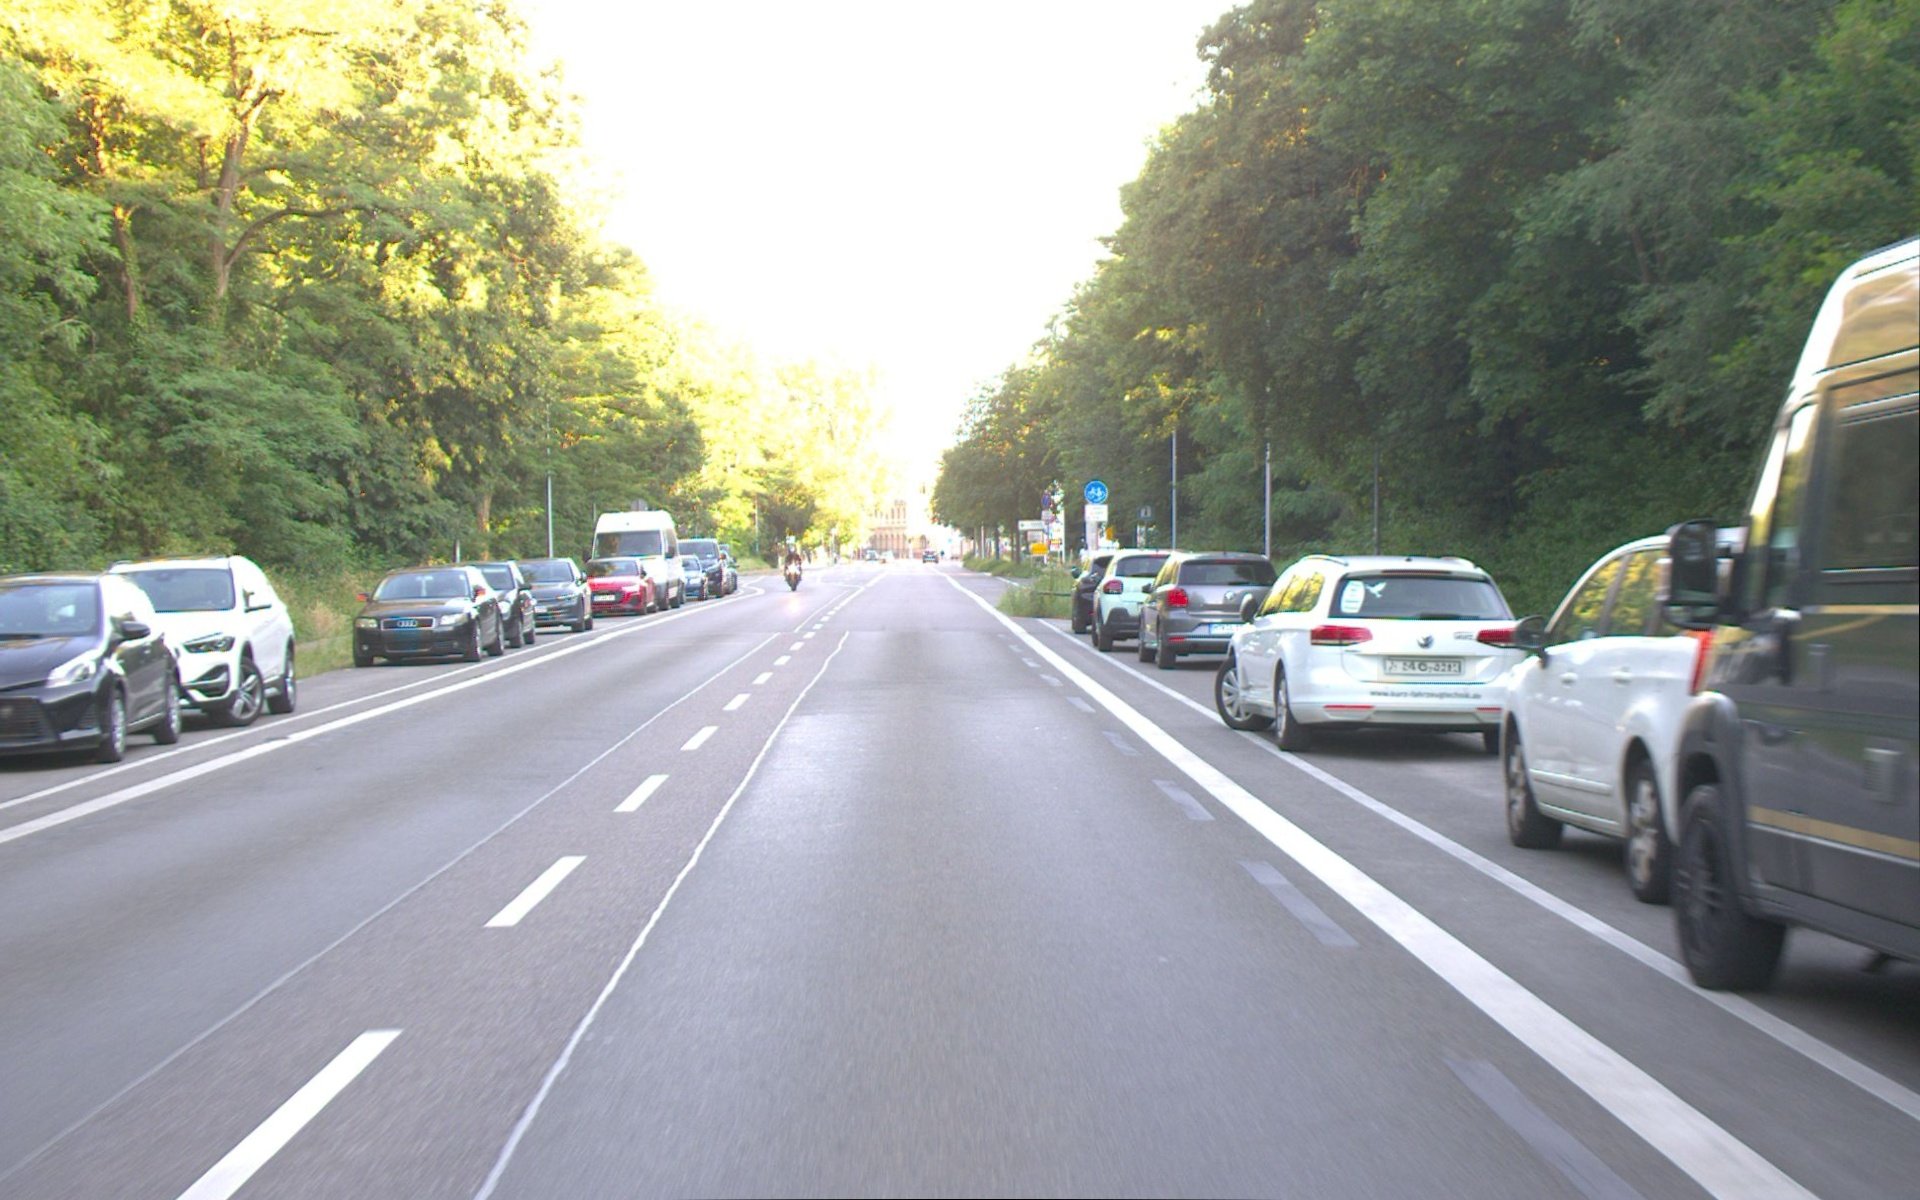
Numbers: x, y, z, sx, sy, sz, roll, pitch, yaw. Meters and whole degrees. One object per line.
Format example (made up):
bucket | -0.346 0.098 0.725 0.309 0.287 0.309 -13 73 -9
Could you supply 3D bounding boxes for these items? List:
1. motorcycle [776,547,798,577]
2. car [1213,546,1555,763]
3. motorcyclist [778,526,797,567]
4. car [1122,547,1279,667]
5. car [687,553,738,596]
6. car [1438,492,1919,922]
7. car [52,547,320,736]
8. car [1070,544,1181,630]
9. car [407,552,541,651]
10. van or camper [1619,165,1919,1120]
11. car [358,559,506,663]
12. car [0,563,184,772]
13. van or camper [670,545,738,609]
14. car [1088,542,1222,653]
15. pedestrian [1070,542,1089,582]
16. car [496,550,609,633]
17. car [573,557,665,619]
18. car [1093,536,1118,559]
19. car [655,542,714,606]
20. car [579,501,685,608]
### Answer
motorcycle | -6.440 -1.418 128.131 0.611 1.123 1.961 -1 1 2
car | 3.192 0.353 26.832 1.843 1.488 4.760 0 1 -3
motorcyclist | -6.439 -1.987 128.109 0.604 1.524 0.995 -1 1 2
car | 3.015 0.055 43.786 1.579 1.441 3.961 -1 1 -2
car | -8.909 -0.929 124.149 1.668 1.496 4.247 -2 1 -2
car | 3.702 0.408 16.584 1.851 1.758 4.725 1 1 -3
car | -7.428 0.337 33.410 1.695 1.640 4.573 -2 1 -2
car | 2.887 -0.260 60.700 1.710 1.439 4.122 0 1 -1
car | -8.019 0.003 56.985 1.711 1.503 3.657 -2 1 -1
van or camper | 3.593 0.124 9.699 2.127 2.532 6.060 1 -1 -2
car | -7.678 0.131 50.268 1.597 1.390 4.052 -2 1 -1
car | -7.433 0.506 27.576 1.671 1.515 3.736 -2 1 -2
van or camper | -8.534 -0.784 114.966 2.002 2.011 5.462 -3 1 -3
car | 2.829 -0.074 50.590 1.688 1.541 4.112 -1 1 0
pedestrian | 5.288 -1.686 152.048 0.838 1.745 0.726 0 0 0
car | -7.832 -0.189 66.381 1.845 1.457 4.230 -3 1 -3
car | -8.239 -0.311 83.308 1.716 1.425 4.388 -1 1 1
car | 10.700 -3.865 252.375 1.770 1.578 4.818 1 0 3
car | -8.345 -0.811 104.344 1.687 1.852 4.388 0 1 -3
car | -8.578 -1.190 90.438 2.079 2.597 7.089 -3 1 -1
